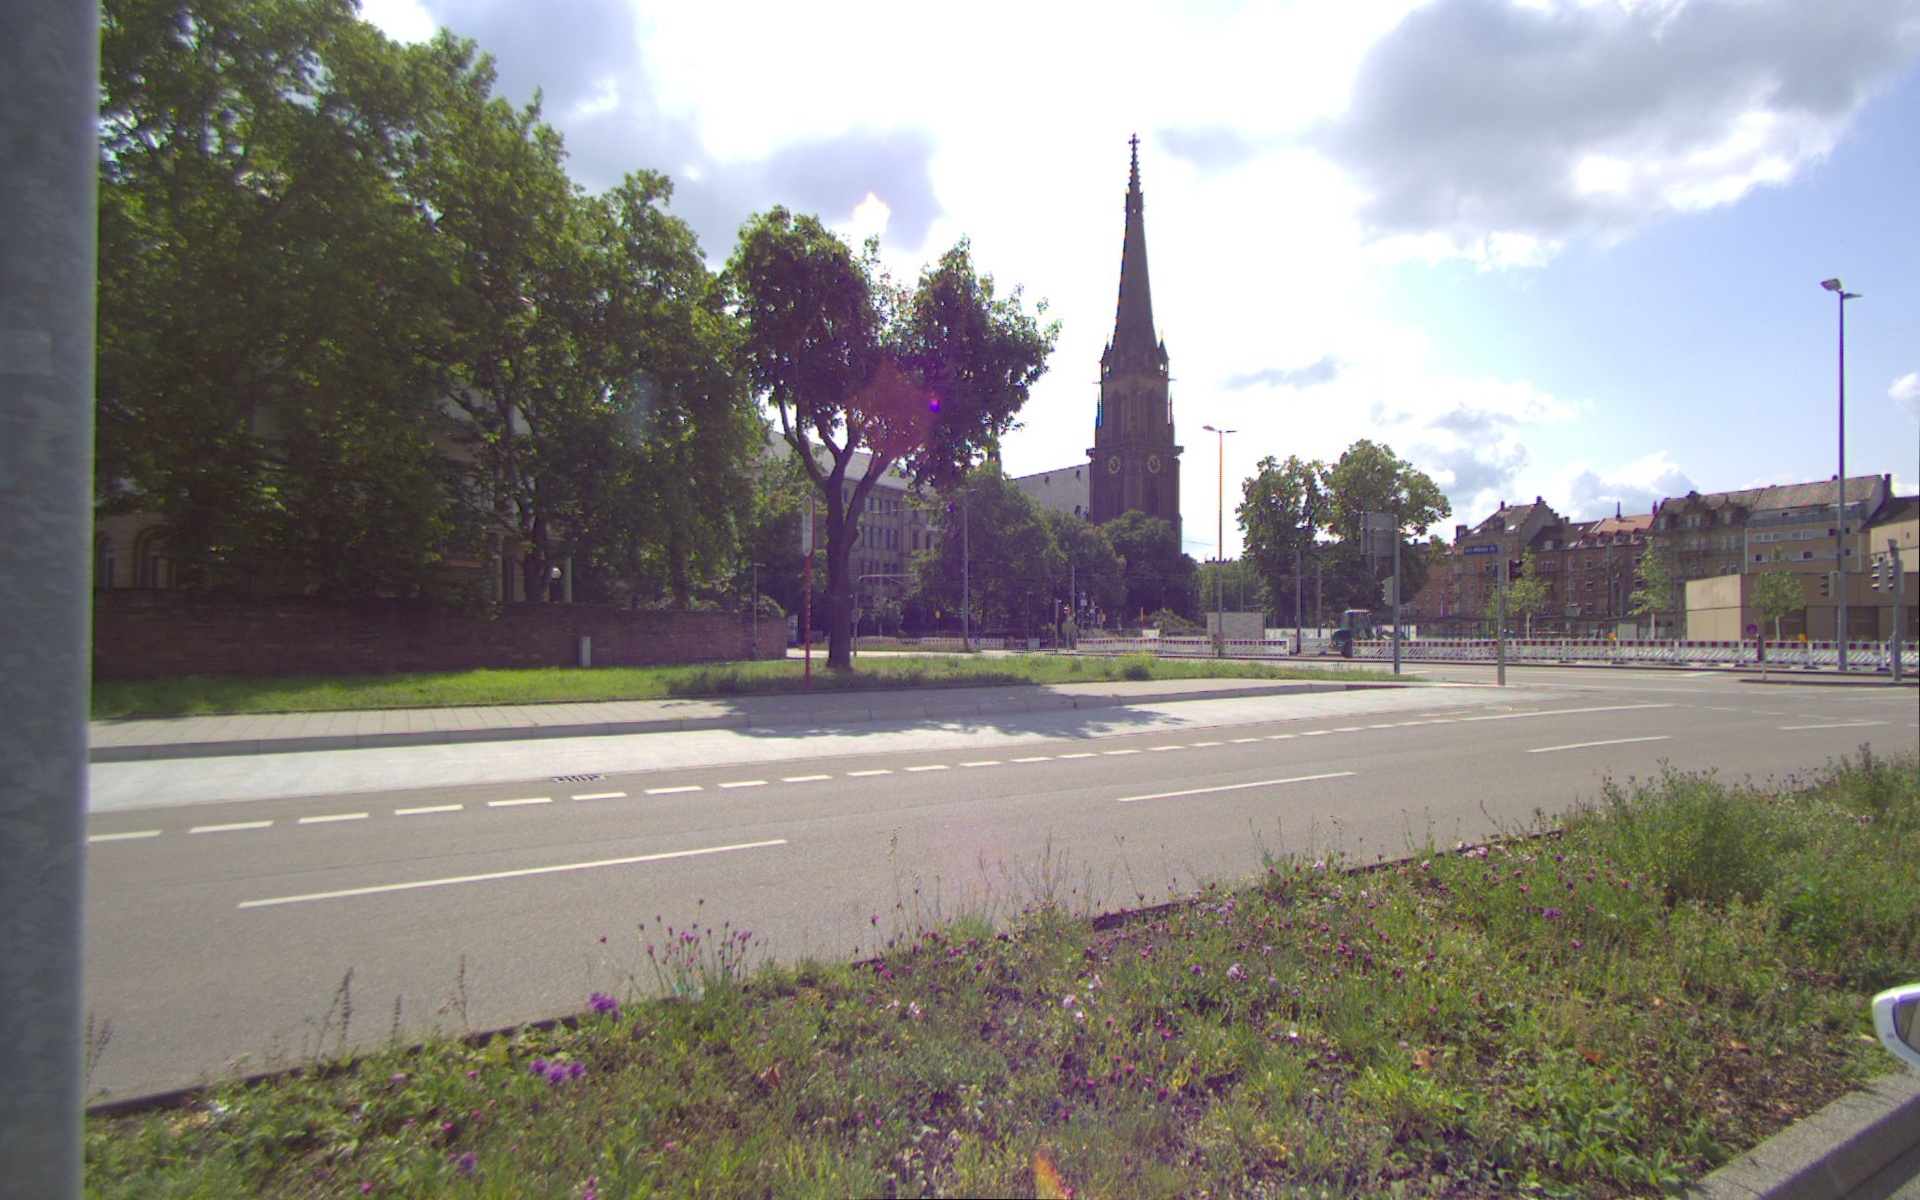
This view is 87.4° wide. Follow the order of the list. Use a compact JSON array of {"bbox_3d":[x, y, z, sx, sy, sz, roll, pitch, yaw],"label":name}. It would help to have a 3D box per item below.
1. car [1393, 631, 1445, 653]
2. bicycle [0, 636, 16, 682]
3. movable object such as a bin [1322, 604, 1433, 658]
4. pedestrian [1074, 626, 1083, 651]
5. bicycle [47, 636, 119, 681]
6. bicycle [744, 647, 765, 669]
[{"bbox_3d":[40.757,3.715,89.254,4.099,1.906,1.803,0,-2,22],"label":"car"},{"bbox_3d":[-22.017,1.318,22.405,0.386,1.024,1.364,-1,-1,38],"label":"bicycle"},{"bbox_3d":[23.286,1.703,56.299,5.430,2.922,2.290,0,-2,13],"label":"movable object such as a bin"},{"bbox_3d":[8.883,2.919,75.448,0.492,1.874,0.526,1,-2,-23],"label":"pedestrian"},{"bbox_3d":[-20.993,1.385,24.059,0.348,1.024,1.249,-1,-1,38],"label":"bicycle"},{"bbox_3d":[-9.885,2.769,48.305,0.386,1.005,1.524,0,-2,12],"label":"bicycle"}]
